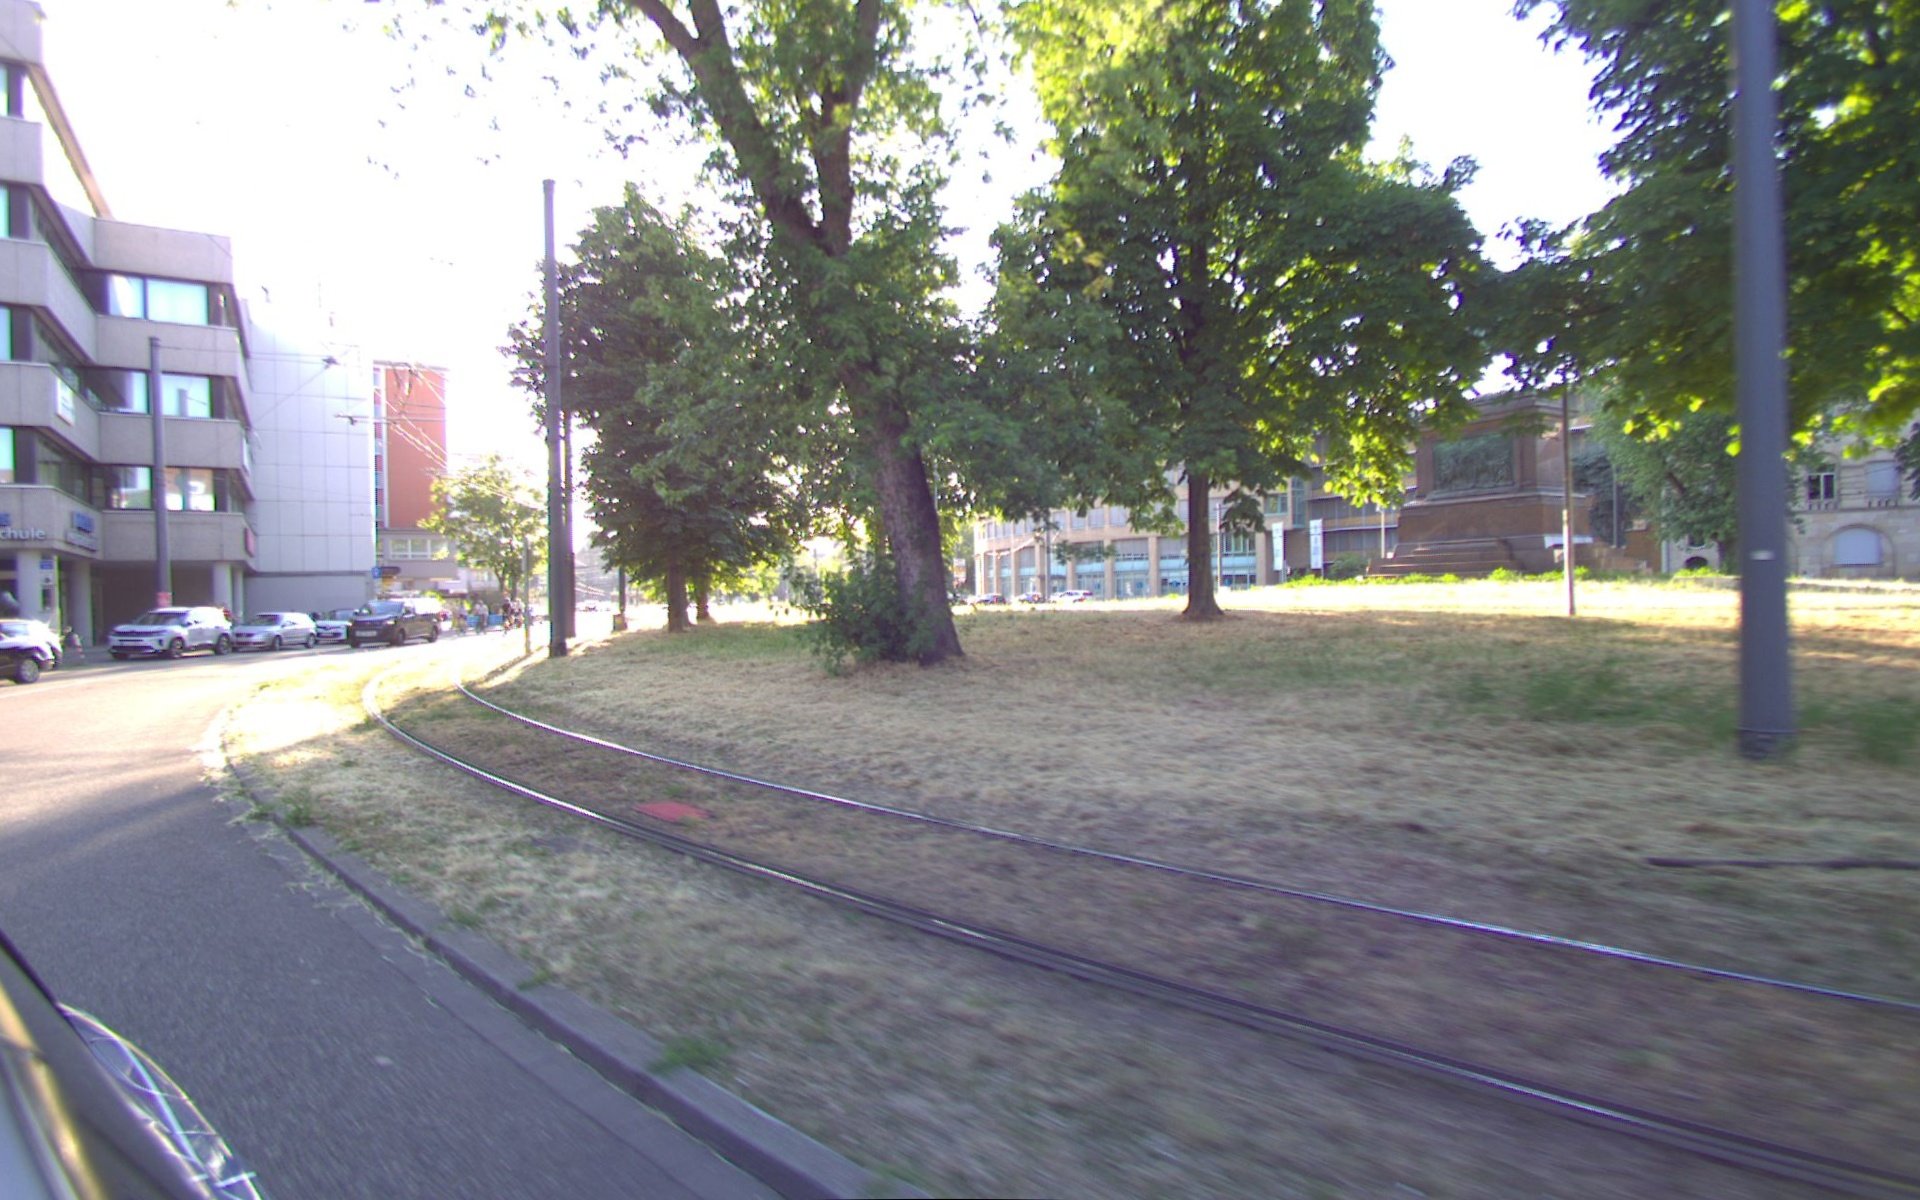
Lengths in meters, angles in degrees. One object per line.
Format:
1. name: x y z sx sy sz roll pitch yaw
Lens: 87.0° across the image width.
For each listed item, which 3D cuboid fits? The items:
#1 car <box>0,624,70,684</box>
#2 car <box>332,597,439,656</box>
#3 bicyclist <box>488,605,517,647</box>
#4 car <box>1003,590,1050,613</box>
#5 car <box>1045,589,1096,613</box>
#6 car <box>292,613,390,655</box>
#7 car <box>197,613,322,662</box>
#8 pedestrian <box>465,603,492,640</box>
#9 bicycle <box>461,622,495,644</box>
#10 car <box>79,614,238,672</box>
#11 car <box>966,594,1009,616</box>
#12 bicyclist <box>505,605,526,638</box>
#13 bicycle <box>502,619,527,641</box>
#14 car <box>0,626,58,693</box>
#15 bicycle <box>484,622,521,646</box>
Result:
1. car: -25.165 1.434 25.752 1.767 1.453 4.005 -2 1 -6
2. car: -23.068 0.995 40.841 1.970 2.172 4.528 -2 1 -5
3. bicyclist: -22.531 1.281 49.848 0.911 1.989 1.115 -2 1 -4
4. car: 6.183 0.149 94.993 1.967 2.029 4.561 -2 1 -34
5. car: 9.803 0.113 90.044 1.967 2.029 4.561 -2 1 -34
6. car: -28.090 1.502 46.118 1.970 1.617 4.528 -2 1 -5
7. car: -27.143 1.412 39.440 1.970 1.617 4.528 -2 1 -5
8. pedestrian: -26.706 1.201 56.154 0.922 1.987 1.274 -2 0 -4
9. bicycle: -26.677 1.825 56.004 0.942 1.084 2.224 -2 1 -5
10. car: -26.669 1.368 33.897 1.970 1.617 4.528 -2 1 -5
11. car: 2.708 0.511 100.827 1.967 2.029 4.561 -2 1 -34
12. bicyclist: -24.884 1.197 56.616 0.848 1.796 0.988 -1 0 -11
13. bicycle: -24.858 1.672 56.538 0.860 1.105 1.854 -2 1 -11
14. car: -21.828 1.362 21.244 1.970 1.404 4.528 -2 1 -5
15. bicycle: -22.530 1.657 49.911 0.922 1.084 2.224 -2 1 -5
